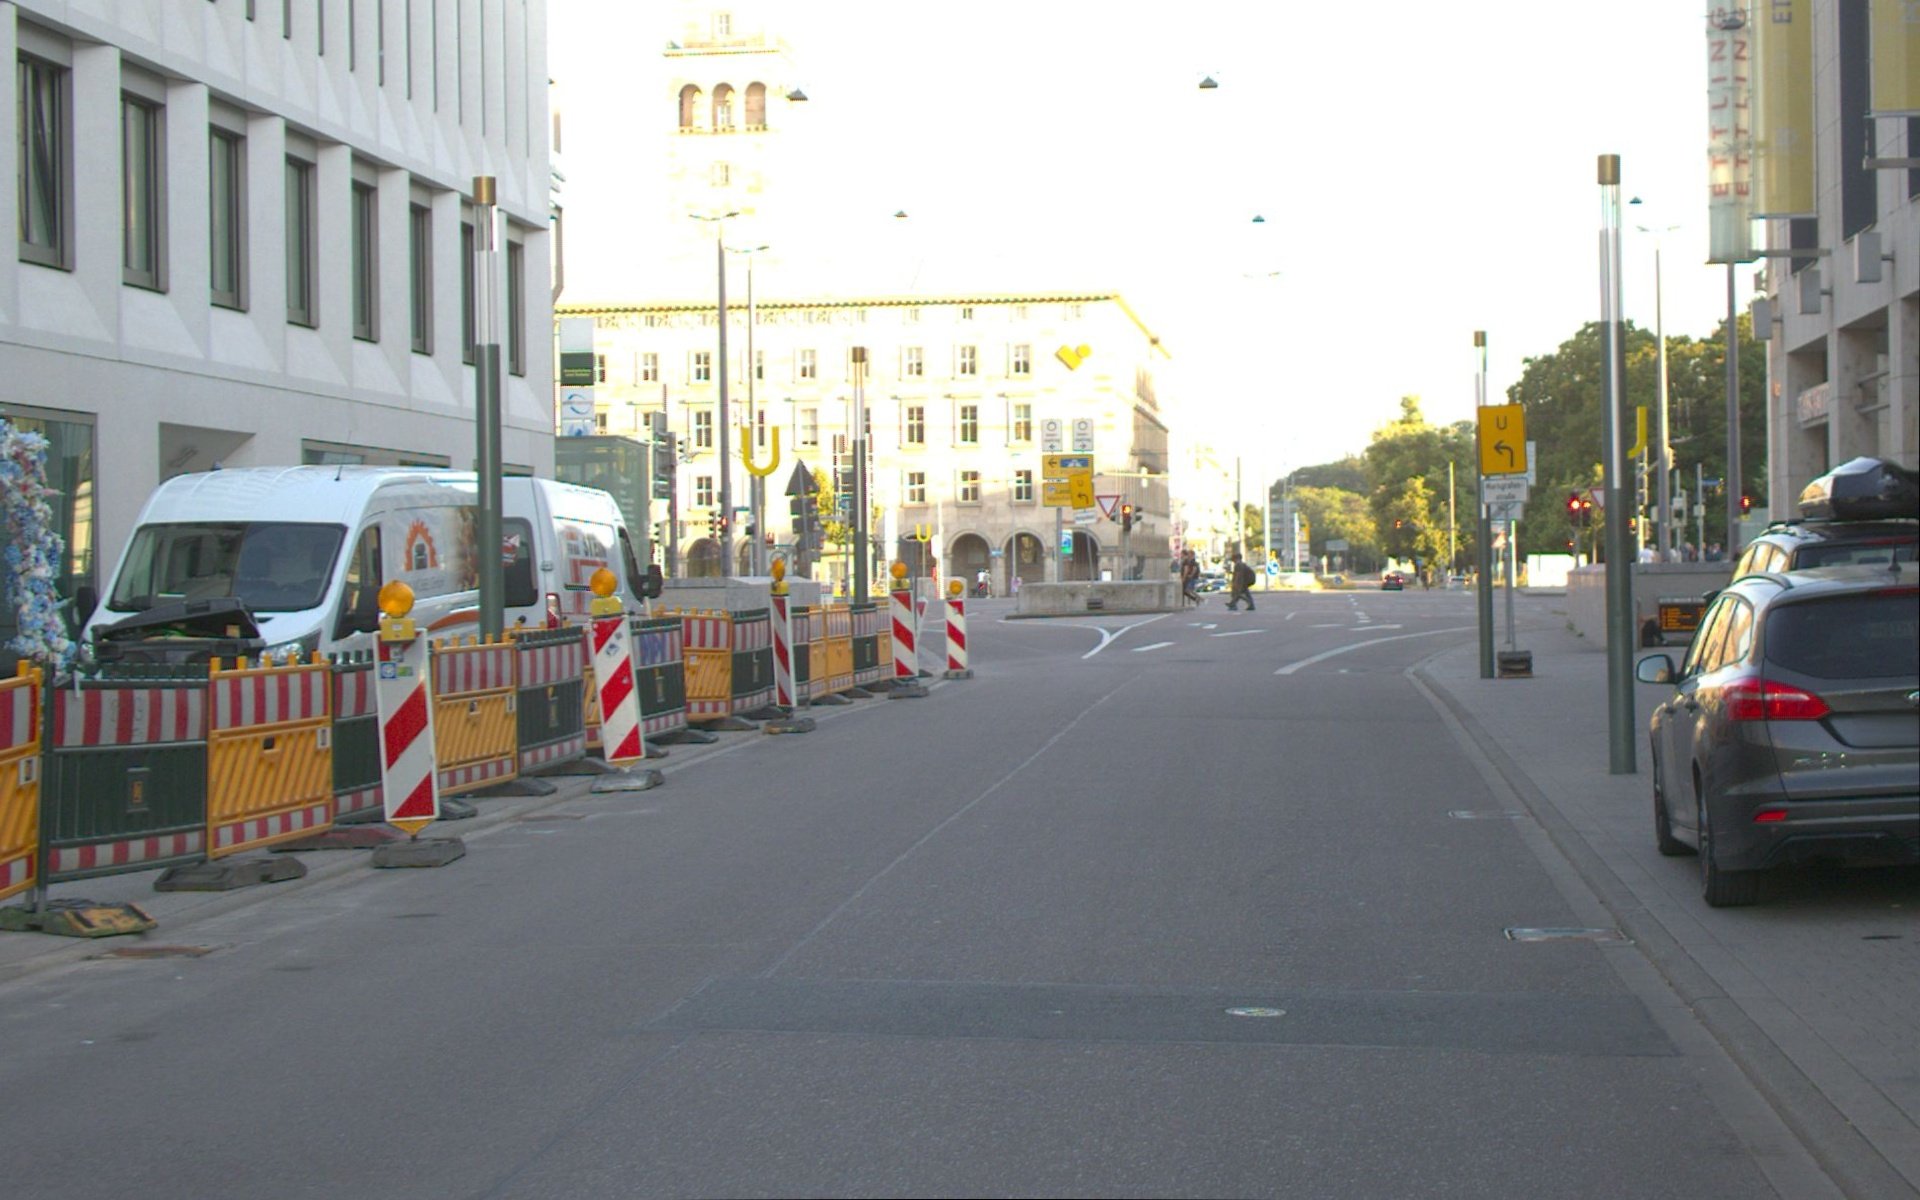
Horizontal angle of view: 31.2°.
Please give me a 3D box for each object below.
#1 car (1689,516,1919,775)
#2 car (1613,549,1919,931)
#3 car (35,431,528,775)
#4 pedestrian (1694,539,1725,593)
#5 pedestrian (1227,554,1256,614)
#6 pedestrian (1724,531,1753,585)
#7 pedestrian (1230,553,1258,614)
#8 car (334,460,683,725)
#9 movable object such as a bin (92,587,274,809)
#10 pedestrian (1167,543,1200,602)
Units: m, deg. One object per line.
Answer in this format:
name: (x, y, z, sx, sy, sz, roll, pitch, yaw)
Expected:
car: (6.355, 0.256, 24.517, 1.768, 1.632, 4.056, -4, 0, 6)
car: (4.193, 0.542, 16.170, 1.795, 1.485, 4.192, -4, 0, 6)
car: (-5.263, -0.011, 27.691, 2.174, 2.462, 5.998, 0, 1, 6)
pedestrian: (25.211, -1.148, 115.708, 0.861, 1.771, 0.740, -3, 0, 8)
pedestrian: (8.471, -0.483, 103.454, 0.738, 1.771, 0.863, 0, 1, -2)
pedestrian: (26.092, -1.414, 115.228, 0.756, 1.771, 0.740, -3, 0, 8)
pedestrian: (8.453, -0.486, 102.393, 0.738, 1.771, 0.863, -3, 0, 4)
car: (-4.463, -0.103, 35.100, 2.174, 2.462, 5.998, 0, 1, 6)
movable object such as a bin: (-5.304, 0.646, 23.564, 1.043, 1.461, 1.394, 0, 0, -6)
pedestrian: (6.889, -0.855, 105.935, 0.739, 1.771, 0.862, -3, 0, 19)
